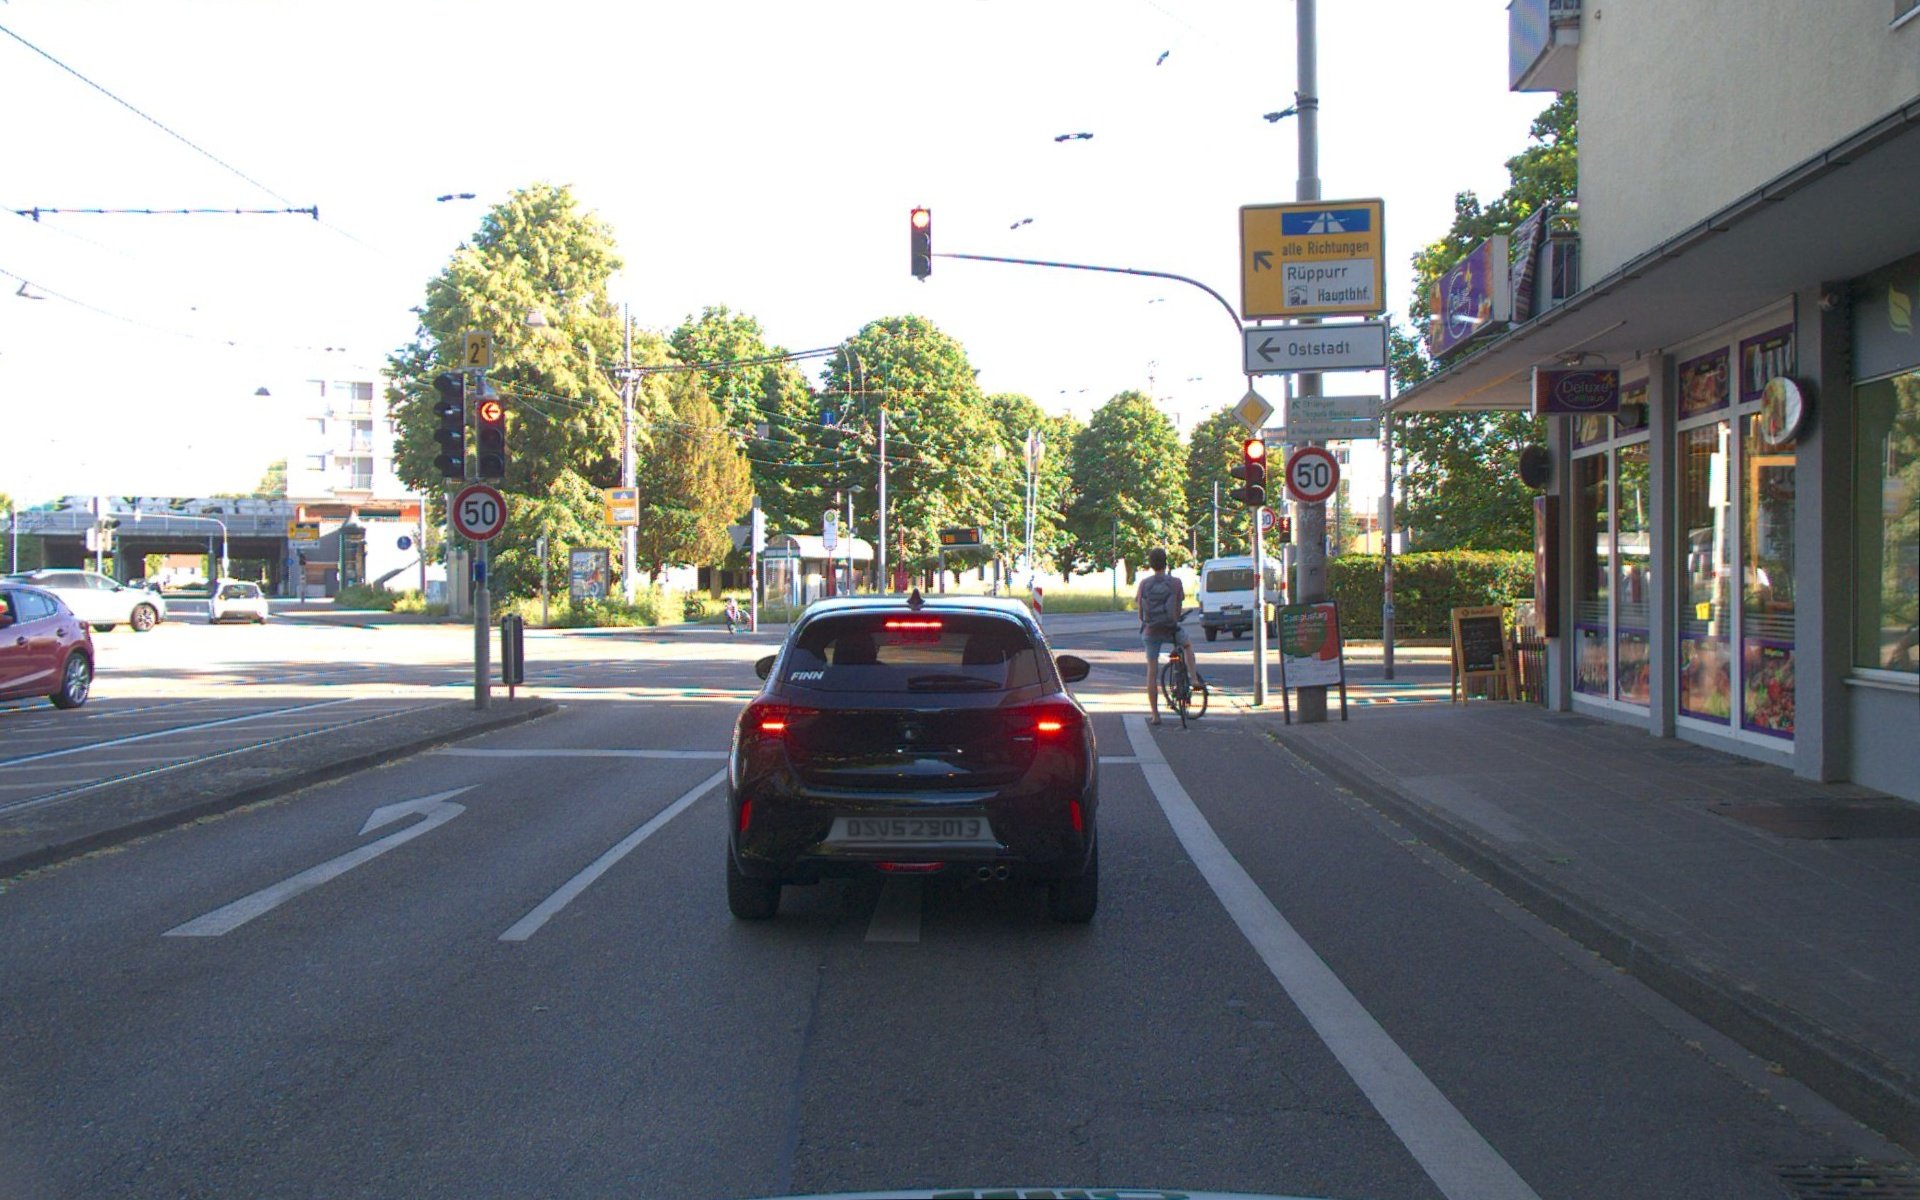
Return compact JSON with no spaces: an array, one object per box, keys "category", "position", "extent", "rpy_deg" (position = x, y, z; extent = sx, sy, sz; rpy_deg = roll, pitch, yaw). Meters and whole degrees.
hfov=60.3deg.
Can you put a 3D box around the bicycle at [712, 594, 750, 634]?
[{"category":"bicycle","position":[-6.391,0.384,46.238],"extent":[0.780,1.083,2.184],"rpy_deg":[0,1,-1]}]

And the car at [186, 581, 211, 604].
[{"category":"car","position":[-59.262,-0.579,128.781],"extent":[1.732,1.713,3.712],"rpy_deg":[1,0,-25]}]

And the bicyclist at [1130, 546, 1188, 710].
[{"category":"bicyclist","position":[2.140,0.292,17.765],"extent":[0.522,1.722,0.568],"rpy_deg":[0,0,16]}]

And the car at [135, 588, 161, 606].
[{"category":"car","position":[-60.941,-0.231,124.128],"extent":[1.562,1.282,3.394],"rpy_deg":[-1,1,-30]}]

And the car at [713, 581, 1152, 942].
[{"category":"car","position":[-0.140,0.646,8.815],"extent":[1.803,1.487,3.983],"rpy_deg":[0,1,-1]}]

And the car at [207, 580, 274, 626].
[{"category":"car","position":[-25.973,0.096,59.612],"extent":[1.967,1.579,4.160],"rpy_deg":[1,0,-27]}]

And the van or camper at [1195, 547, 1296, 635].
[{"category":"van or camper","position":[8.074,-0.230,46.454],"extent":[1.987,2.351,4.540],"rpy_deg":[1,0,20]}]

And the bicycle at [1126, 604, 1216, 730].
[{"category":"bicycle","position":[2.308,0.687,17.897],"extent":[0.737,1.256,2.017],"rpy_deg":[0,1,14]}]

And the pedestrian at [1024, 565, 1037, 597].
[{"category":"pedestrian","position":[4.285,-1.169,100.953],"extent":[0.599,1.904,0.512],"rpy_deg":[1,-1,-39]}]

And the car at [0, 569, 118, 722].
[{"category":"car","position":[-11.013,0.465,17.742],"extent":[1.977,1.592,4.487],"rpy_deg":[0,1,-5]}]

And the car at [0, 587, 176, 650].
[{"category":"car","position":[-23.075,0.483,43.391],"extent":[1.767,1.545,4.190],"rpy_deg":[1,0,36]}]
